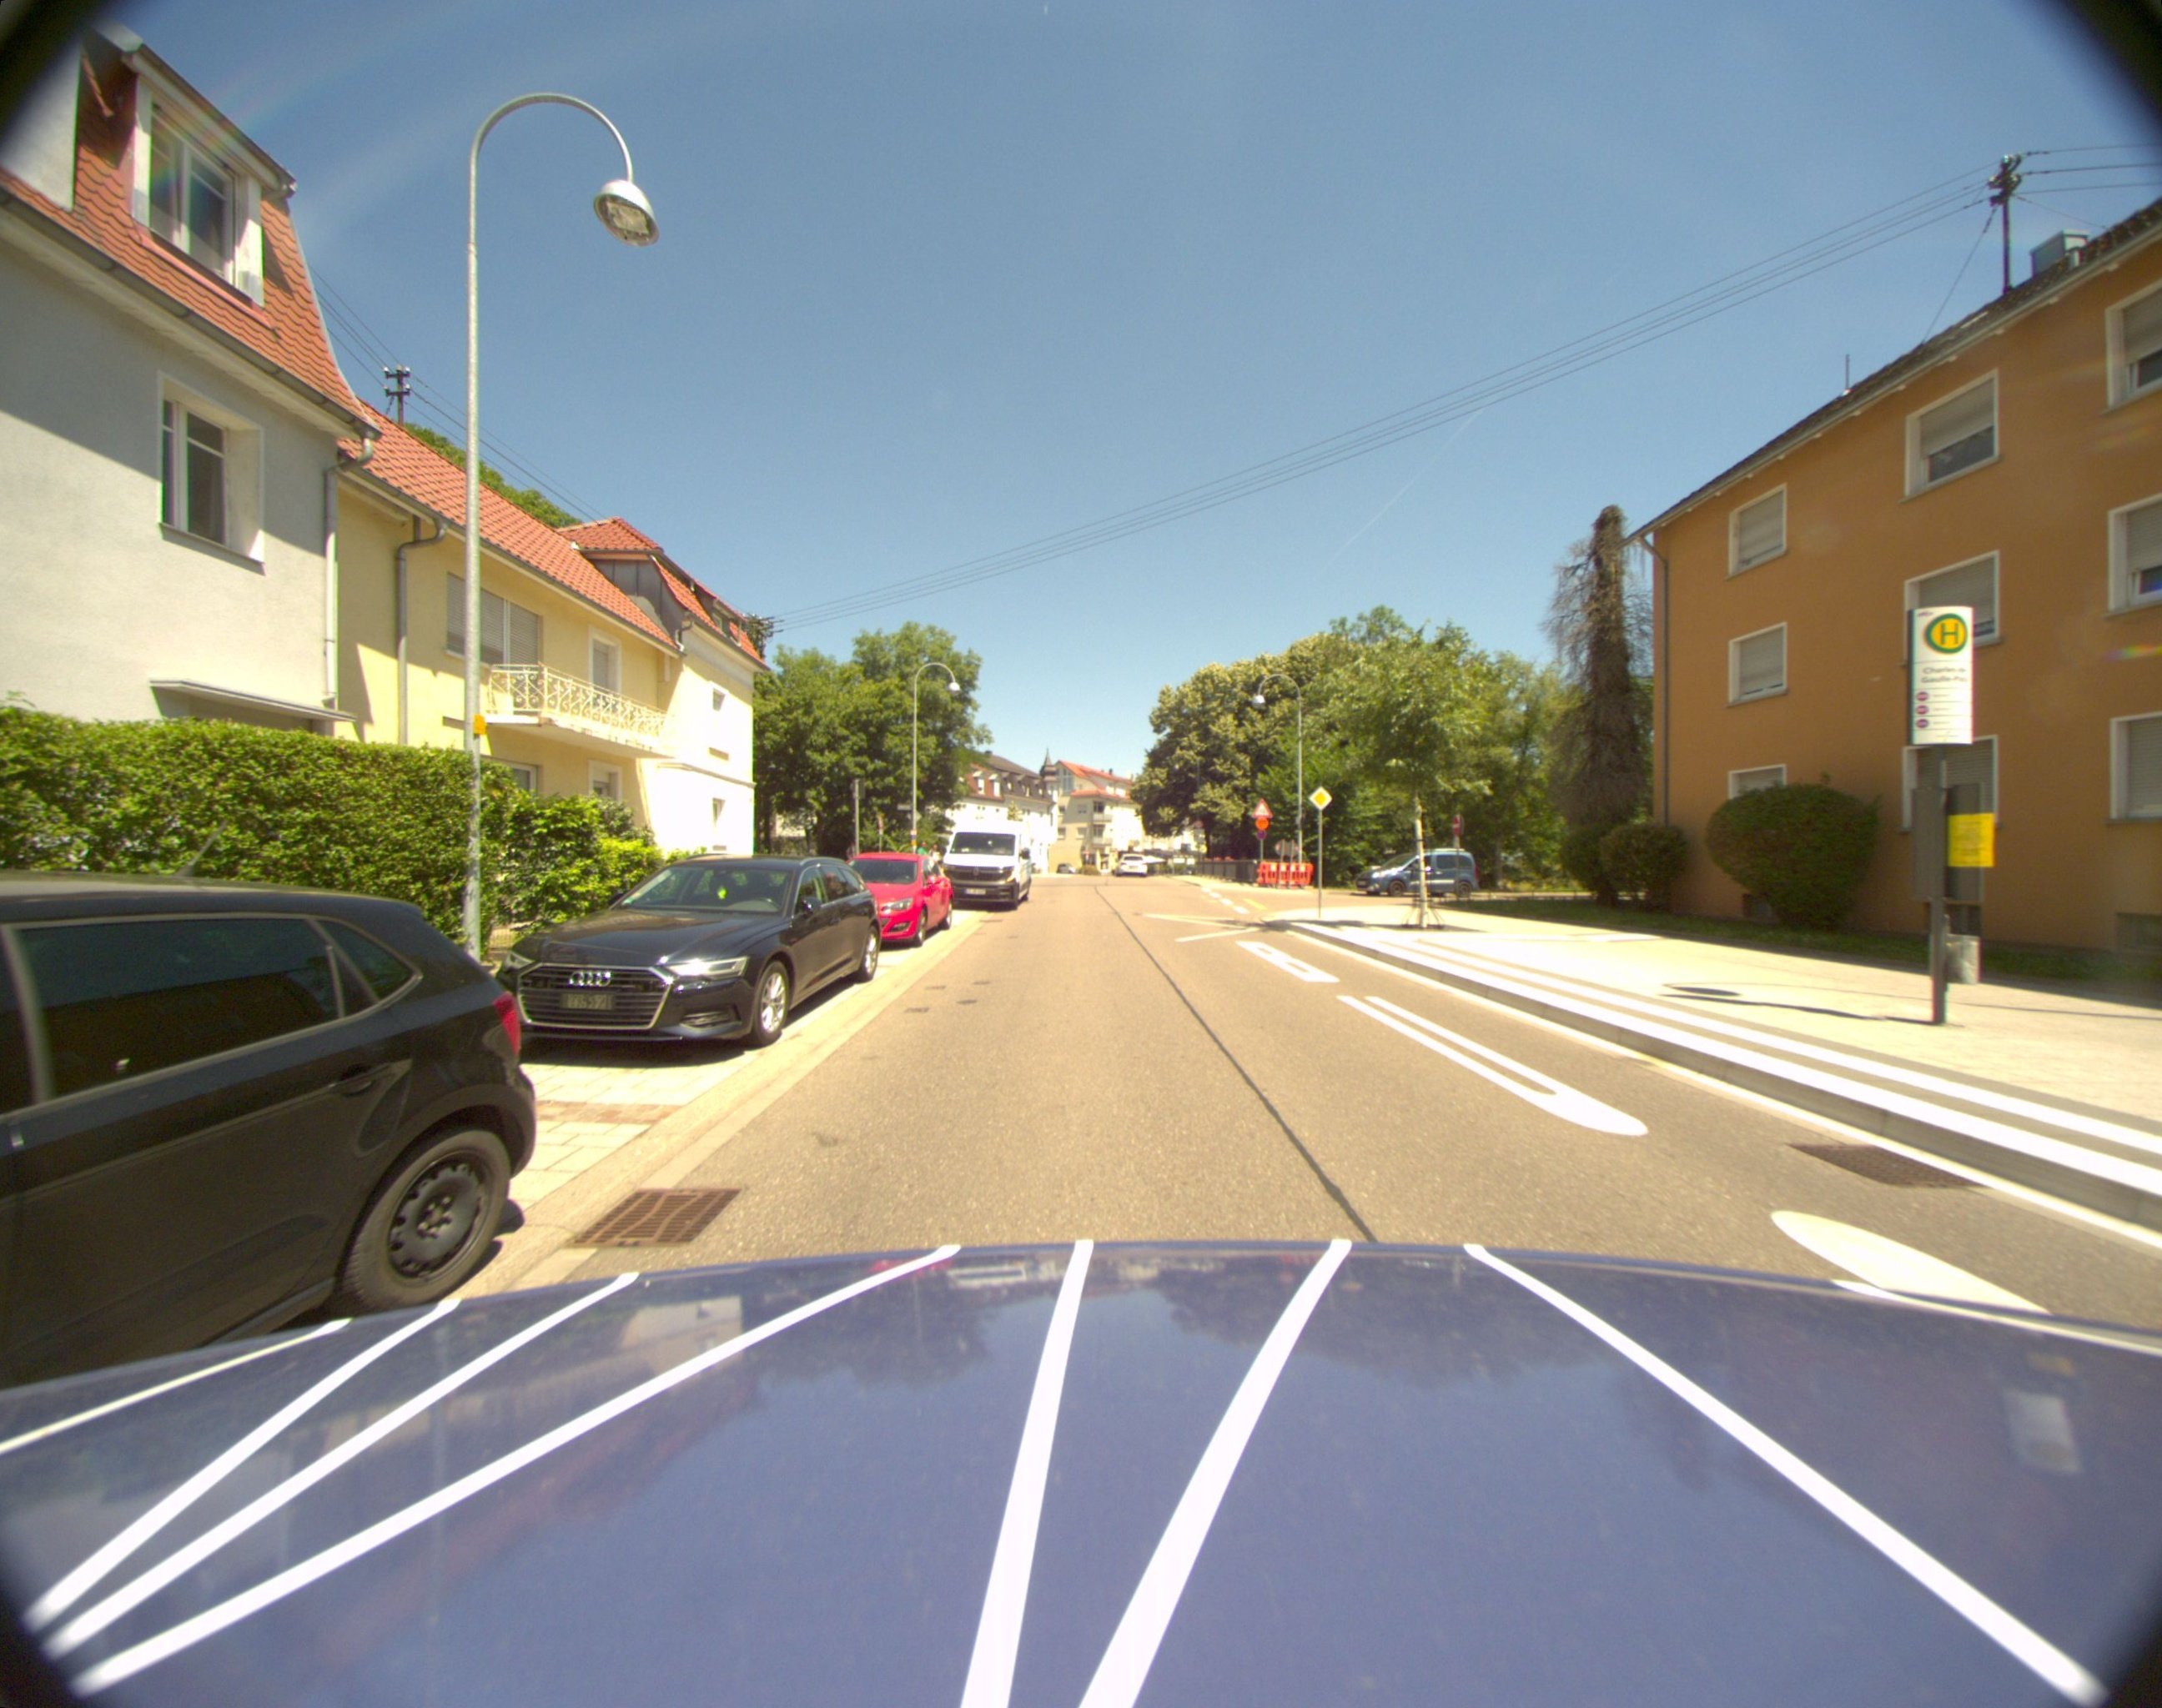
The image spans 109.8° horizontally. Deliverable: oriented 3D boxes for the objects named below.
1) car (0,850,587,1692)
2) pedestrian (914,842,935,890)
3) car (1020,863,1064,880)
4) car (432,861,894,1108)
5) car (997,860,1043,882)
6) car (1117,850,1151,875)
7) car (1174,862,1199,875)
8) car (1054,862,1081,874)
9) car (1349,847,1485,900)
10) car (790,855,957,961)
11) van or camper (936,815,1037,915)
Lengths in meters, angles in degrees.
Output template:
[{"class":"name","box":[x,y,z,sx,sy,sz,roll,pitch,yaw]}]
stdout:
[{"class":"car","box":[-3.025,0.829,1.123,1.732,1.623,4.001,3,0,4]},{"class":"pedestrian","box":[-5.658,0.434,27.419,0.522,1.696,0.803,4,0,-20]},{"class":"car","box":[-3.962,1.757,77.654,3.990,1.660,2.004,-2,-1,28]},{"class":"car","box":[-3.297,0.874,7.302,1.808,1.466,4.720,3,0,-1]},{"class":"car","box":[-6.056,1.701,75.483,3.990,2.002,2.003,-2,0,26]},{"class":"car","box":[3.377,0.546,48.801,1.998,1.498,4.288,0,0,2]},{"class":"car","box":[14.883,2.070,107.791,2.002,1.705,3.995,2,-2,-16]},{"class":"car","box":[-1.792,1.777,99.598,3.038,1.444,1.570,-2,0,22]},{"class":"car","box":[12.673,0.714,28.768,4.439,1.863,1.817,1,0,-10]},{"class":"car","box":[-3.390,0.797,13.241,1.808,1.521,4.150,0,0,-1]},{"class":"van or camper","box":[-2.553,0.234,22.144,2.114,2.453,6.175,2,1,0]}]
